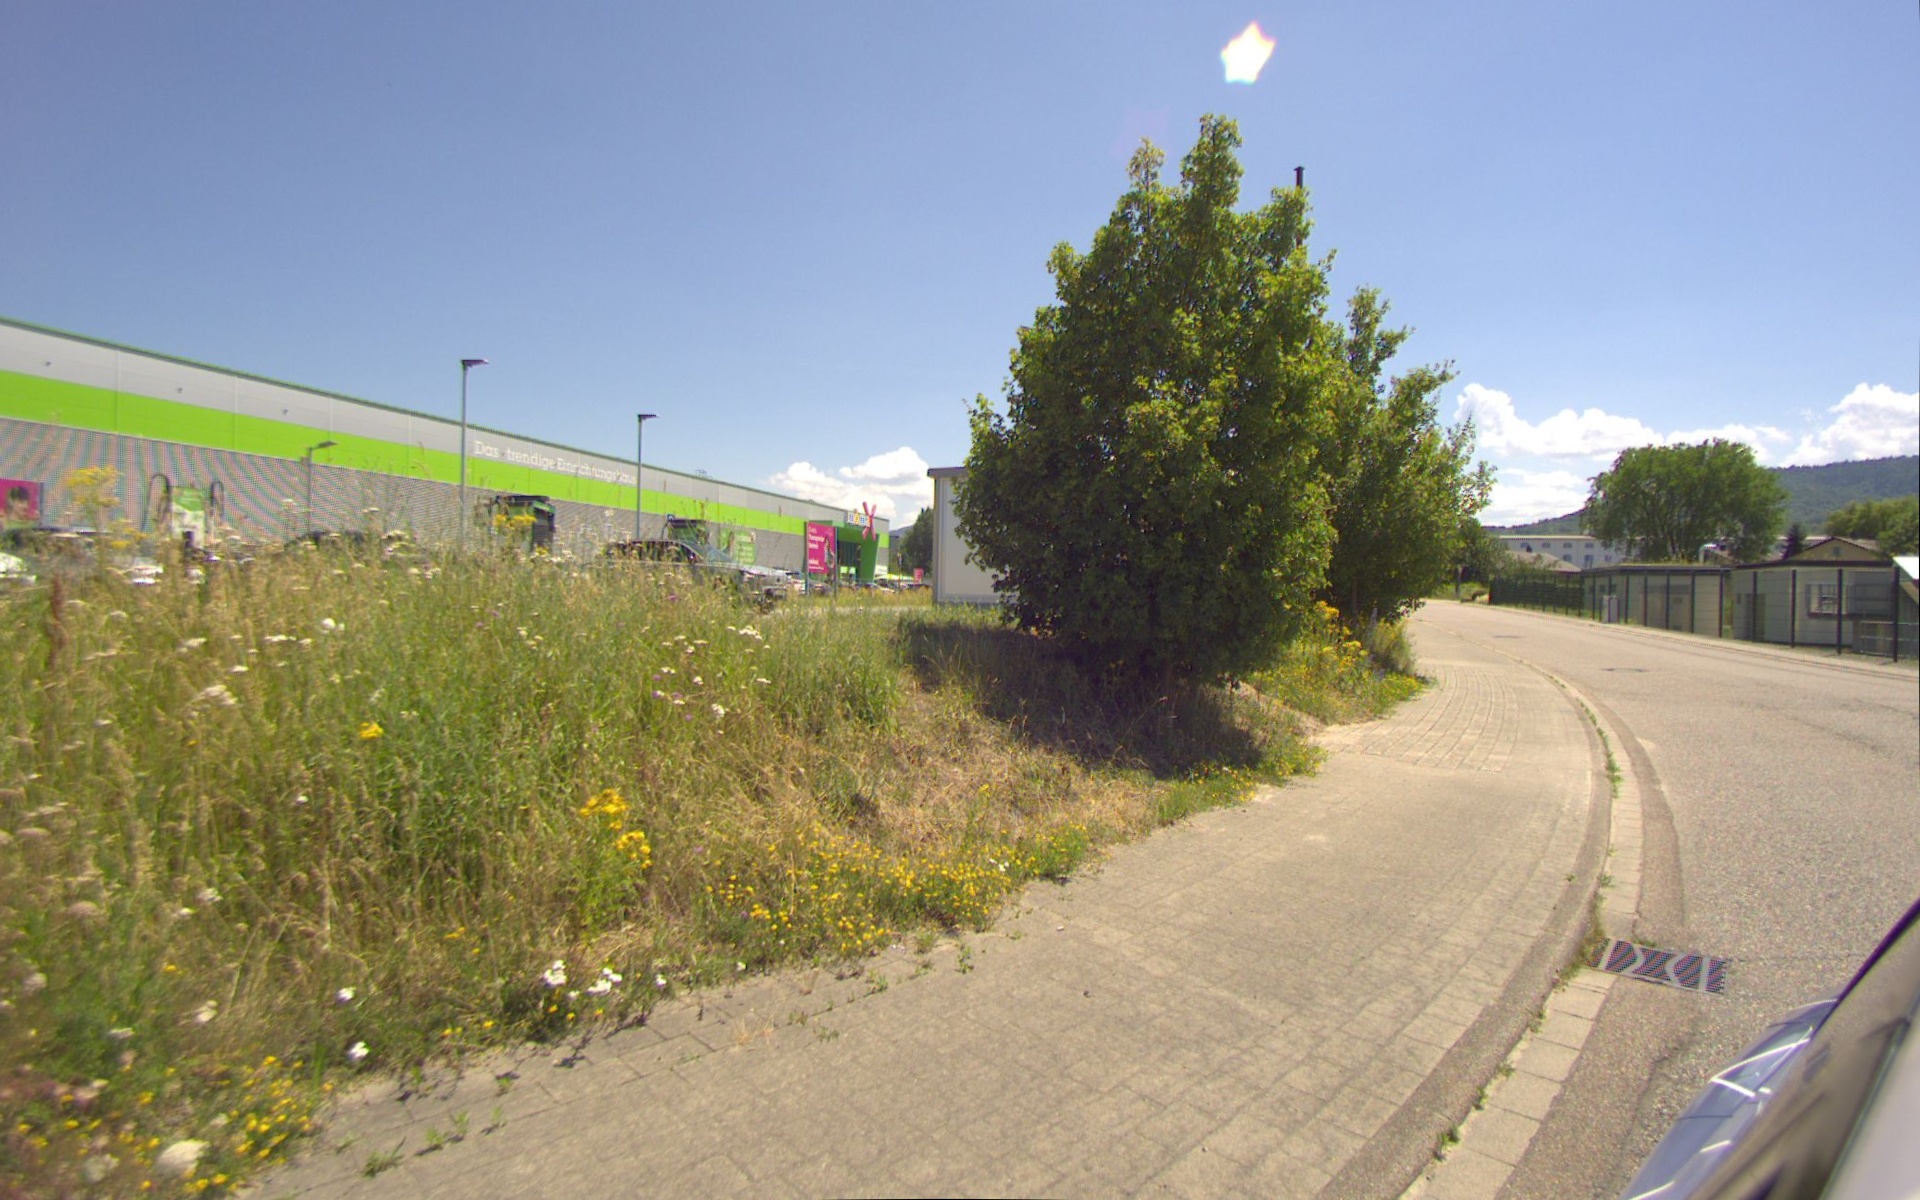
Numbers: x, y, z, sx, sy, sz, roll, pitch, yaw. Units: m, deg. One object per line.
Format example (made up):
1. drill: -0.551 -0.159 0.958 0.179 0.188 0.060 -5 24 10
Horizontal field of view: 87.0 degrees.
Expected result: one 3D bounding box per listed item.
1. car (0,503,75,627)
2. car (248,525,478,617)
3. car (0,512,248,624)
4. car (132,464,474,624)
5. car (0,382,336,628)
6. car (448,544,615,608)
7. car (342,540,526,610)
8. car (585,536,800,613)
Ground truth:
1. car: -16.049 -0.524 15.287 4.336 1.809 1.945 0 0 14
2. car: -13.176 -0.629 22.408 4.339 1.891 1.990 0 0 16
3. car: -15.166 -0.548 17.916 4.339 1.809 1.929 1 0 16
4. car: -9.859 -0.795 15.286 4.336 2.172 1.945 0 0 14
5. car: -10.725 -1.105 13.167 4.692 2.777 1.987 1 0 20
6. car: -12.703 -0.699 30.073 4.339 1.809 1.990 1 0 16
7. car: -14.387 -0.674 27.732 4.339 1.809 1.990 1 0 16
8. car: -6.338 -0.591 24.046 4.692 1.686 1.987 1 1 20
